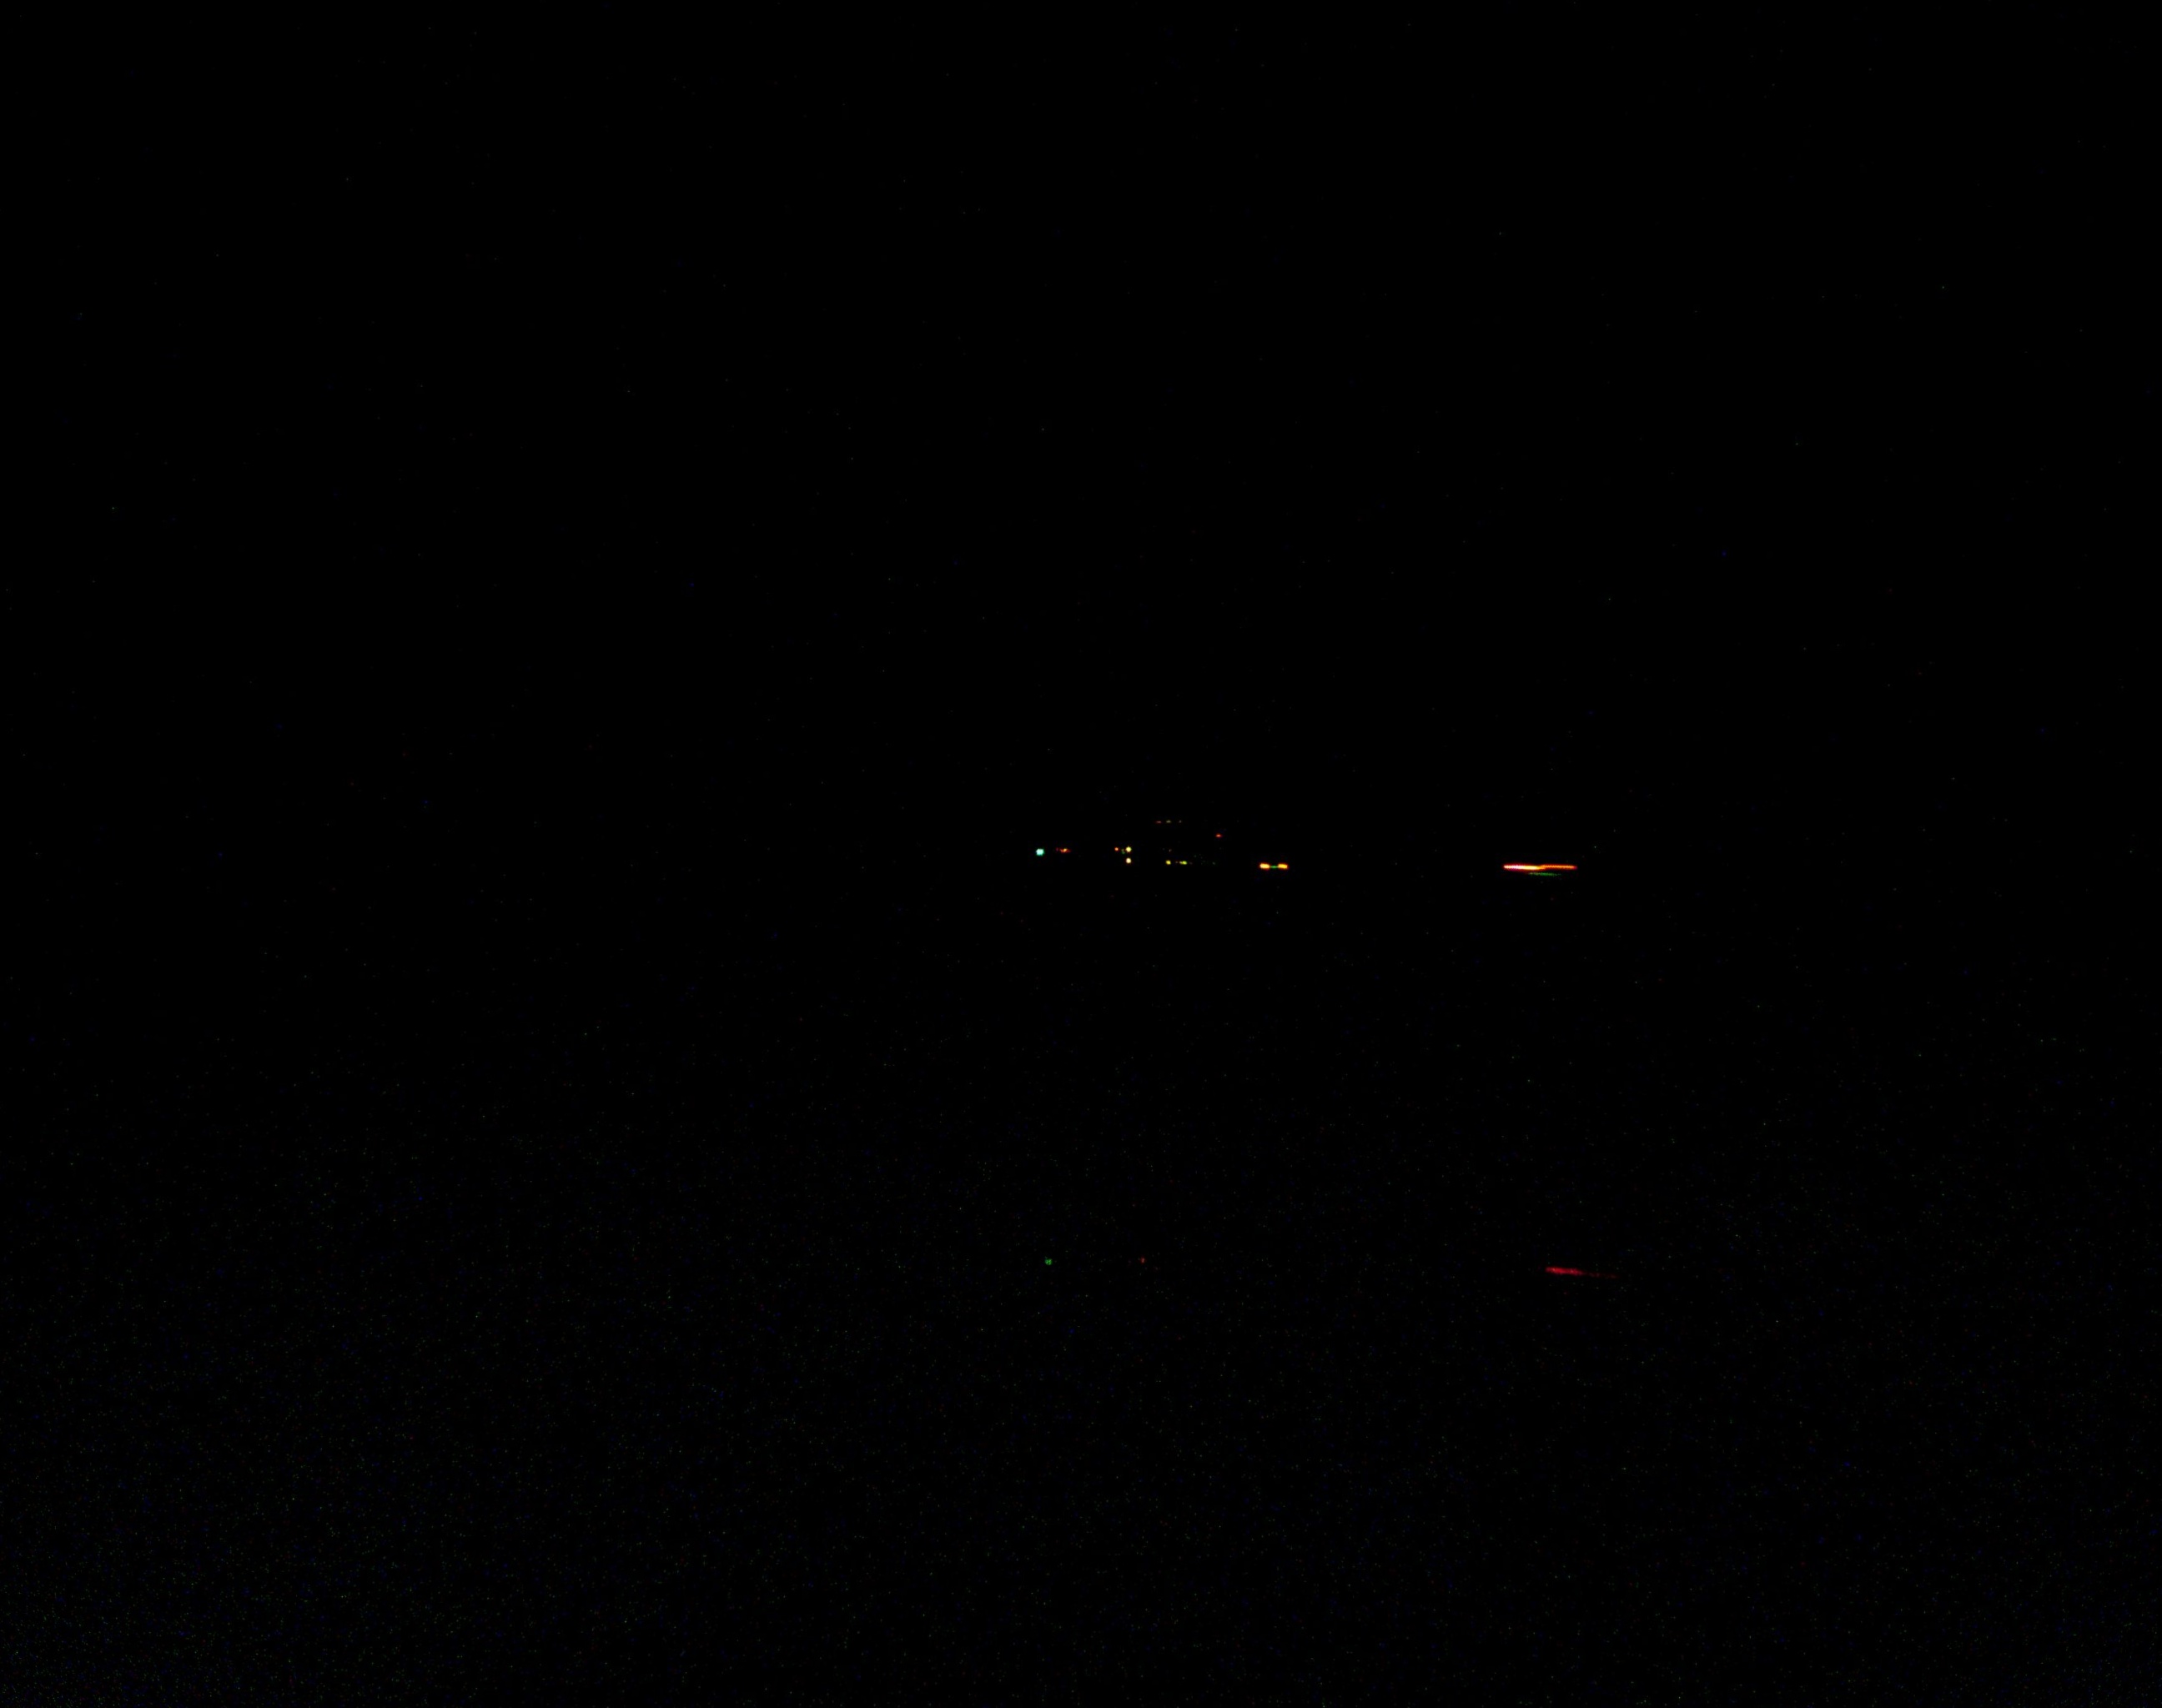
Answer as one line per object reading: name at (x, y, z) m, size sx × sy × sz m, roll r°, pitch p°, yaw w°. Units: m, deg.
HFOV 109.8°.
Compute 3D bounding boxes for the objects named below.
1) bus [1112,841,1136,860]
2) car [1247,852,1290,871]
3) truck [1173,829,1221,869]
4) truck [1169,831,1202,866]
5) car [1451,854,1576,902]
bus at (7.482, -0.614, 133.272) m, size 2.793 × 3.092 × 12.512 m, roll -1°, pitch 0°, yaw -3°
car at (13.437, 0.493, 54.605) m, size 1.998 × 1.264 × 4.294 m, roll -1°, pitch 0°, yaw 0°
truck at (12.904, -0.543, 86.054) m, size 2.753 × 4.103 × 13.904 m, roll -1°, pitch 0°, yaw -2°
truck at (12.635, -0.685, 92.189) m, size 2.781 × 4.119 × 6.672 m, roll -1°, pitch 1°, yaw -2°
car at (15.218, 0.777, 27.021) m, size 1.998 × 1.548 × 4.294 m, roll -1°, pitch 0°, yaw 0°
